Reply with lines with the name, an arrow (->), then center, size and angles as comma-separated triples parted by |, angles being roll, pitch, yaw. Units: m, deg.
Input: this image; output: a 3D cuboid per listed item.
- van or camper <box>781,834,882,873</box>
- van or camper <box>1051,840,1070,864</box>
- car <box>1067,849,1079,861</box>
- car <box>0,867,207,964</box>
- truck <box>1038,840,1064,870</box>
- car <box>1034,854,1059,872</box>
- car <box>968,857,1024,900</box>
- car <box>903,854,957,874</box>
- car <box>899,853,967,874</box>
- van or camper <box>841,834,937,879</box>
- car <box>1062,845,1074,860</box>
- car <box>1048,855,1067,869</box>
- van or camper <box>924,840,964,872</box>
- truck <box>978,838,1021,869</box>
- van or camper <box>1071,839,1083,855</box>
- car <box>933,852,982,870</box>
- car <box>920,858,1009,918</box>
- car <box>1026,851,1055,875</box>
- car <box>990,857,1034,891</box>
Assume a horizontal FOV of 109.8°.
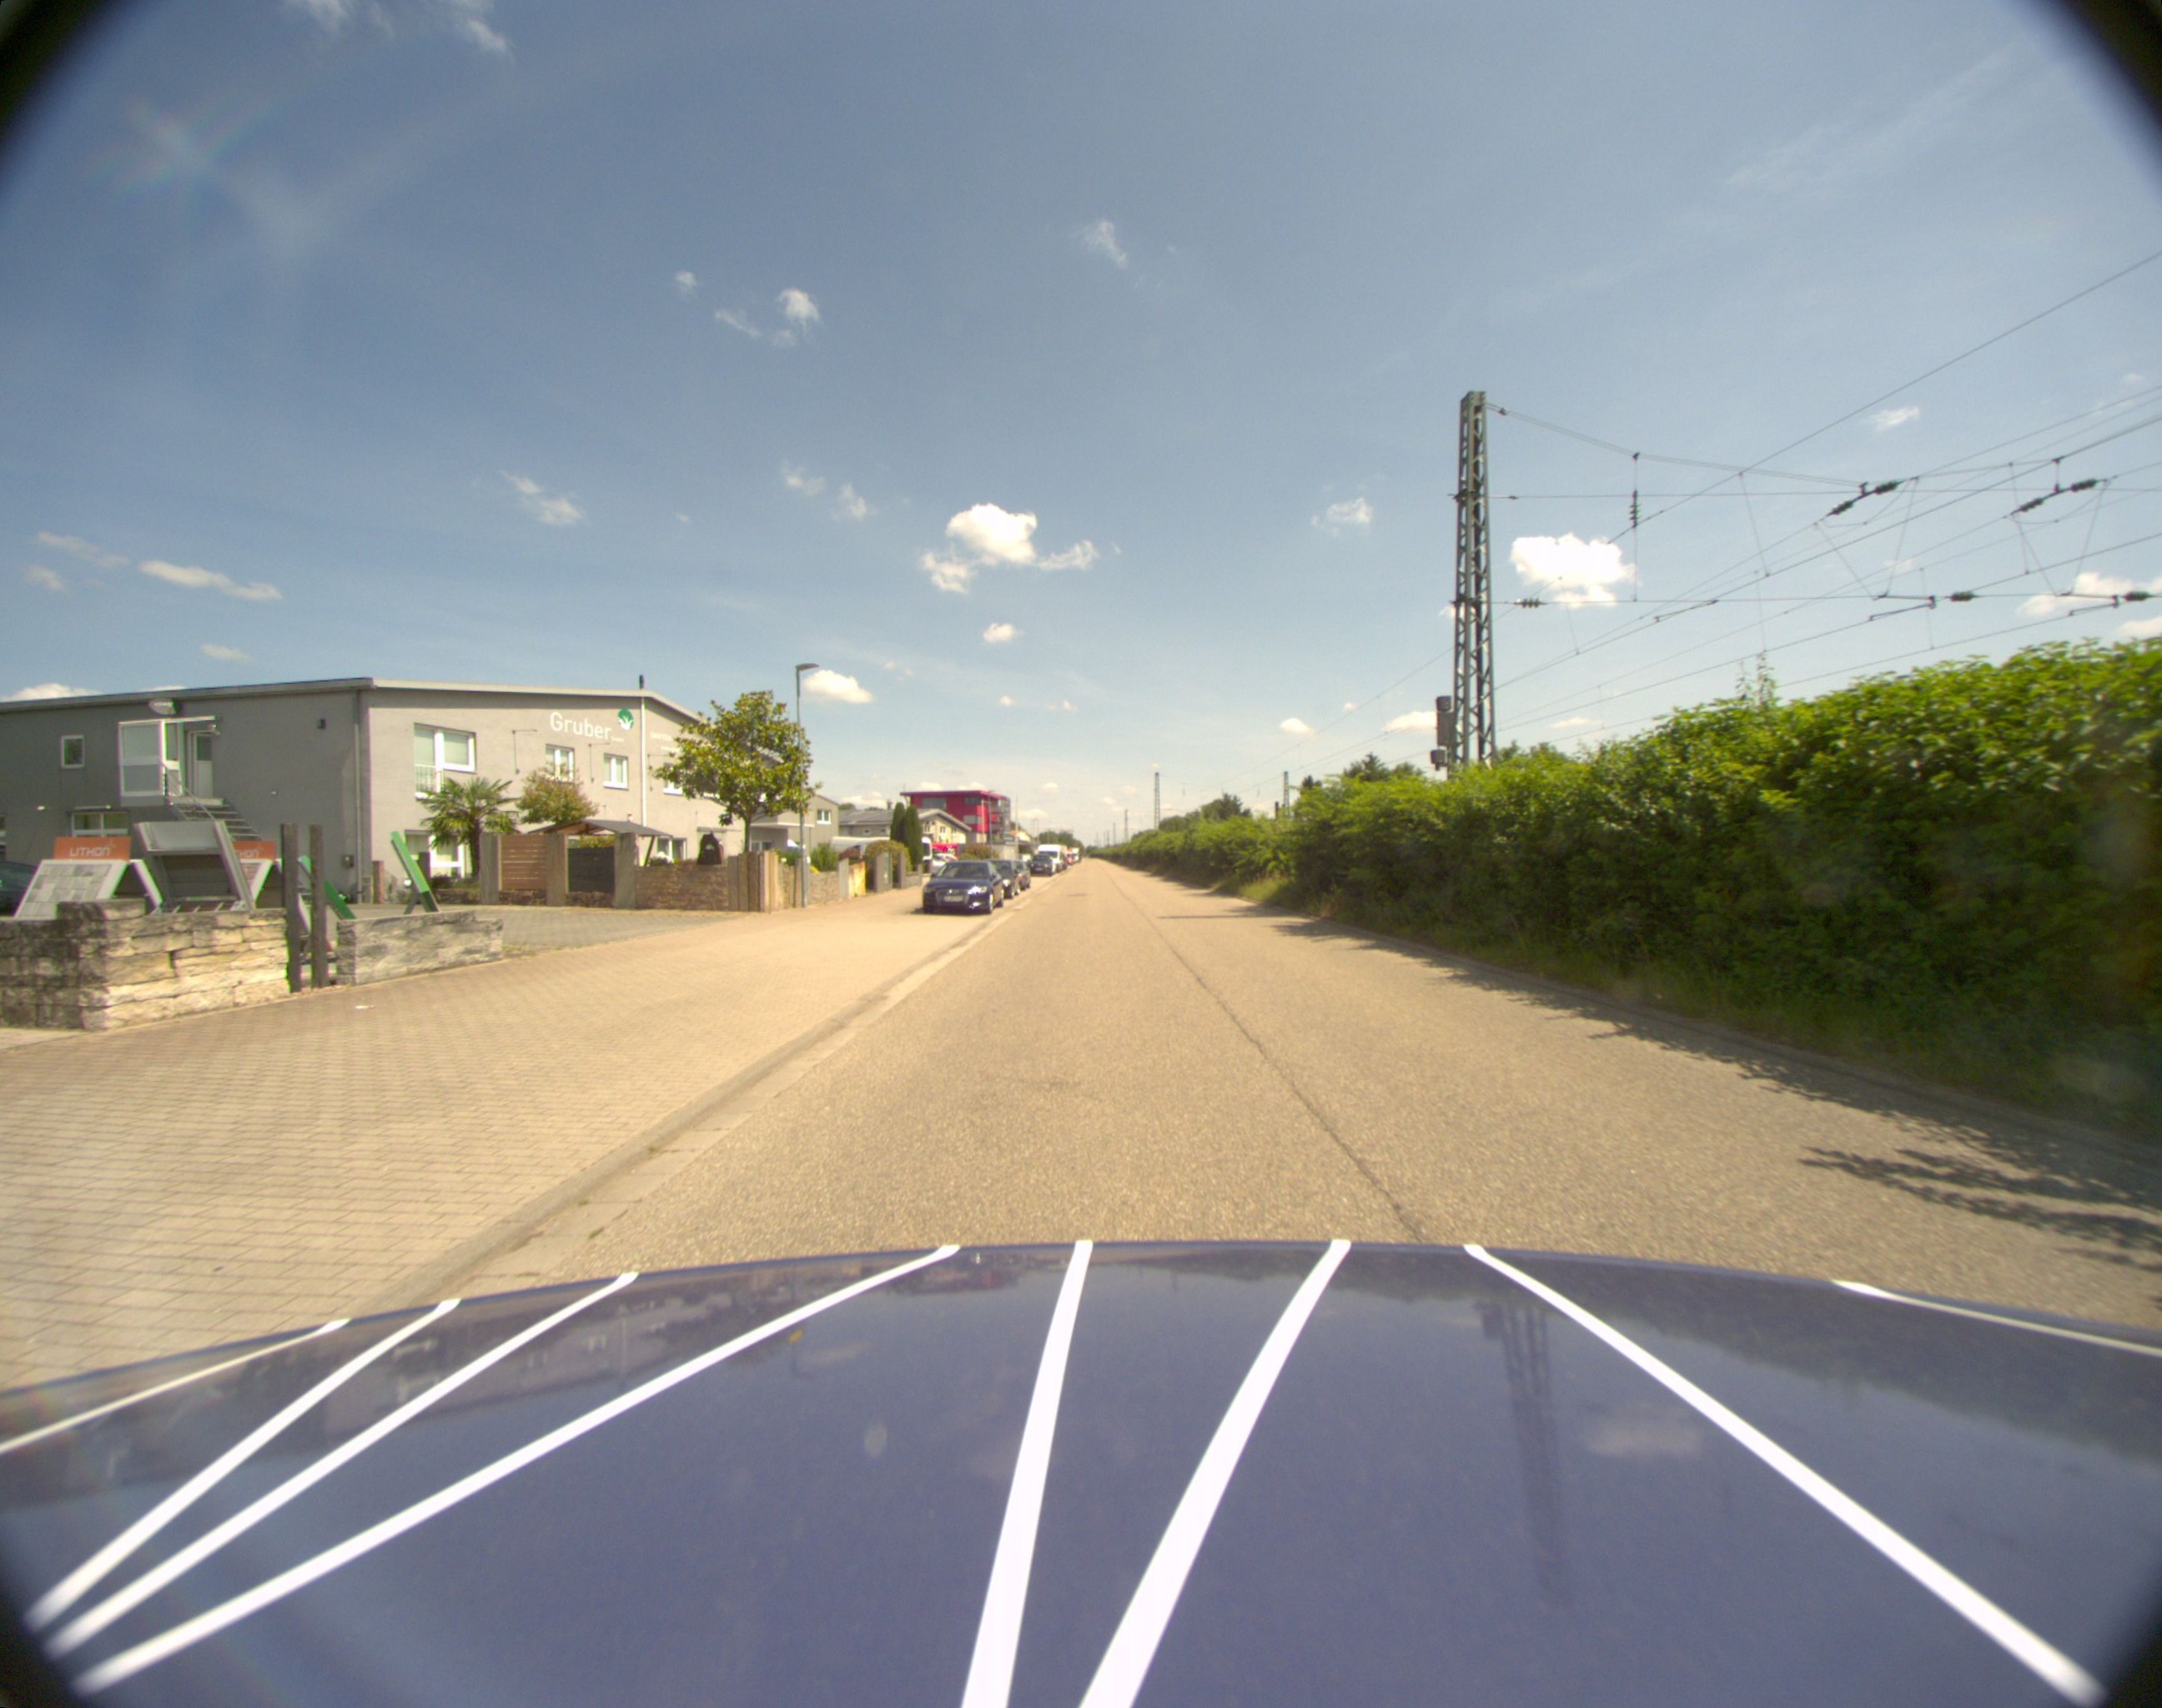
van or camper -> -16.019, -0.047, 48.844 | 5.832, 2.423, 2.136 | 0, 1, 11
van or camper -> -2.409, -0.248, 91.430 | 1.998, 2.855, 4.395 | -1, 1, 1
car -> -1.511, 0.157, 140.100 | 1.998, 2.002, 3.999 | -2, 1, 1
car -> -15.927, 0.885, 10.934 | 1.785, 1.316, 4.005 | 0, 0, 12
truck -> -2.670, 0.088, 68.765 | 1.998, 2.550, 5.289 | 0, 0, 2
car -> -2.822, 0.764, 62.336 | 1.805, 1.410, 3.757 | 1, 0, 1
car -> -3.131, 0.860, 28.676 | 1.618, 1.464, 3.875 | 0, 0, 1
car -> -11.542, 0.738, 58.167 | 3.702, 1.478, 1.714 | 0, 0, 2
car -> -10.712, 0.660, 55.186 | 4.605, 1.478, 1.714 | 0, 0, 1
van or camper -> -11.246, 0.137, 44.647 | 5.098, 2.519, 2.002 | 0, 1, 15
car -> -2.009, -0.295, 117.070 | 1.742, 2.258, 4.019 | -1, 1, 1
car -> -2.462, 0.854, 81.479 | 1.805, 1.361, 3.756 | -3, 0, 1
van or camper -> -12.334, 0.157, 68.786 | 2.037, 2.752, 4.900 | 0, 0, 10
truck -> -7.305, -0.015, 68.537 | 2.381, 2.673, 5.787 | 0, 0, 10
van or camper -> -0.862, -1.561, 168.078 | 2.333, 3.497, 4.770 | -2, 1, 1
car -> -10.252, 0.595, 63.229 | 3.702, 1.478, 1.714 | 0, 0, 2
car -> -3.188, 0.887, 21.766 | 1.766, 1.464, 4.718 | 0, 0, 1
car -> -2.950, 0.648, 56.292 | 1.805, 1.692, 4.000 | 1, 0, 1
car -> -3.144, 0.877, 35.263 | 1.618, 1.415, 4.195 | 0, 0, 1
